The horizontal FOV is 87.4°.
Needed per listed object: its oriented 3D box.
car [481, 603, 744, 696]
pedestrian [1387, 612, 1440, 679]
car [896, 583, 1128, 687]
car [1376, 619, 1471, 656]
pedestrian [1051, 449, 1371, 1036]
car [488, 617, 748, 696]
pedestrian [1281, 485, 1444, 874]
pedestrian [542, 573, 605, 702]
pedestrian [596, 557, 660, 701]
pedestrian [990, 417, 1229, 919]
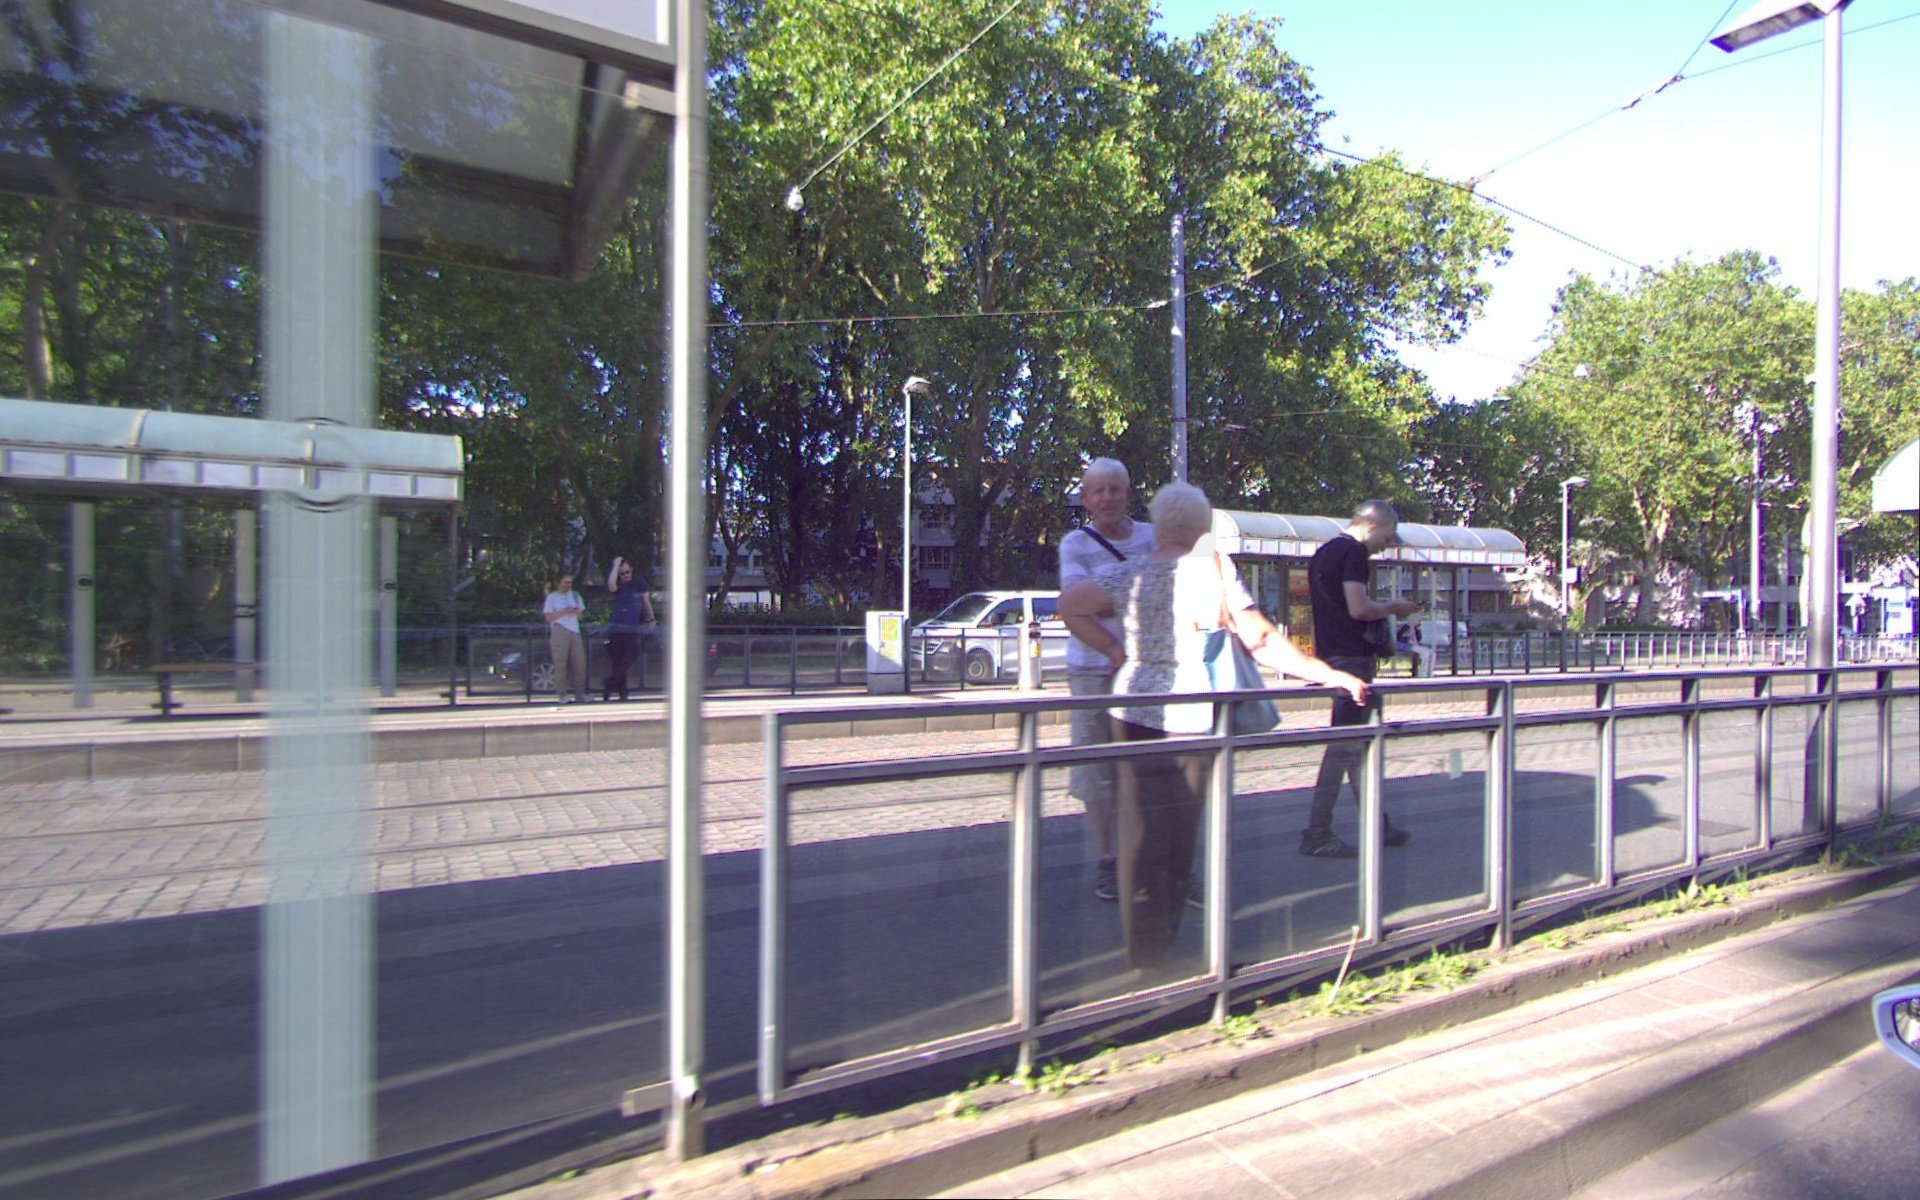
[{"bbox_3d":[-6.341,0.913,18.487,4.293,1.530,1.785,2,-3,-32],"label":"car"},{"bbox_3d":[9.321,0.928,20.640,0.748,1.342,0.666,1,-3,-32],"label":"pedestrian"},{"bbox_3d":[1.242,0.831,22.898,5.034,2.152,2.056,2,-3,-32],"label":"car"},{"bbox_3d":[31.872,2.557,69.173,5.616,2.367,2.155,1,0,-7],"label":"car"},{"bbox_3d":[0.768,0.394,3.294,0.849,1.656,0.803,2,1,8],"label":"pedestrian"},{"bbox_3d":[-6.273,1.032,18.556,4.267,1.309,1.761,2,-3,-32],"label":"car"},{"bbox_3d":[1.994,0.349,4.962,0.641,1.745,0.710,2,1,25],"label":"pedestrian"},{"bbox_3d":[-4.845,0.461,12.590,0.619,1.564,0.590,2,0,-29],"label":"pedestrian"},{"bbox_3d":[-4.280,0.367,12.946,0.642,1.795,0.645,2,0,-27],"label":"pedestrian"},{"bbox_3d":[0.594,0.259,4.153,0.699,1.866,0.650,1,1,-20],"label":"pedestrian"}]
